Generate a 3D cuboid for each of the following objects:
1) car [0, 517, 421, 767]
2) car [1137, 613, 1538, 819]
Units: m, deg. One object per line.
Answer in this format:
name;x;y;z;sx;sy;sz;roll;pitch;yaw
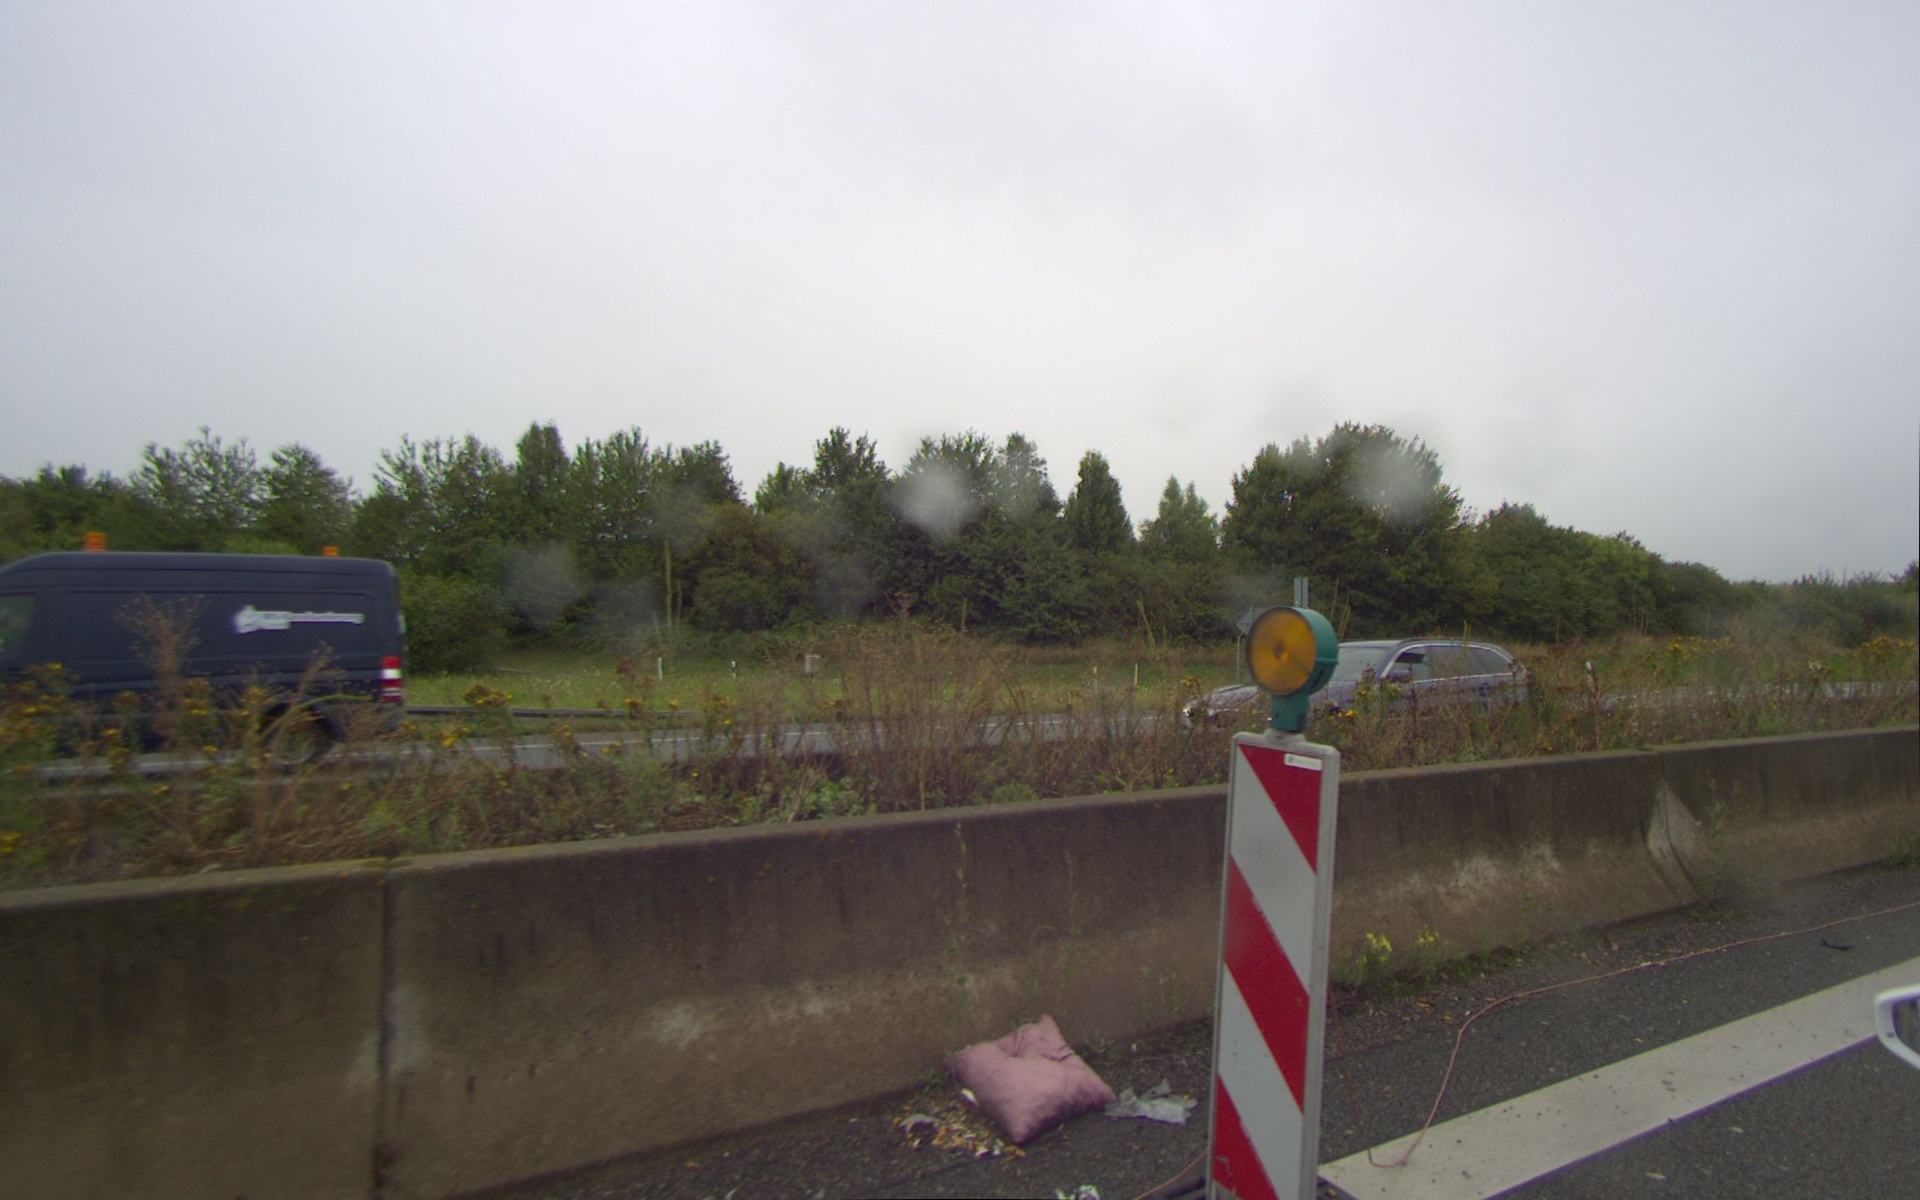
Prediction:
car;-9.778;0.473;12.028;5.777;2.644;2.041;2;0;-29
car;4.549;1.233;11.939;4.618;1.985;1.984;2;-1;-31
